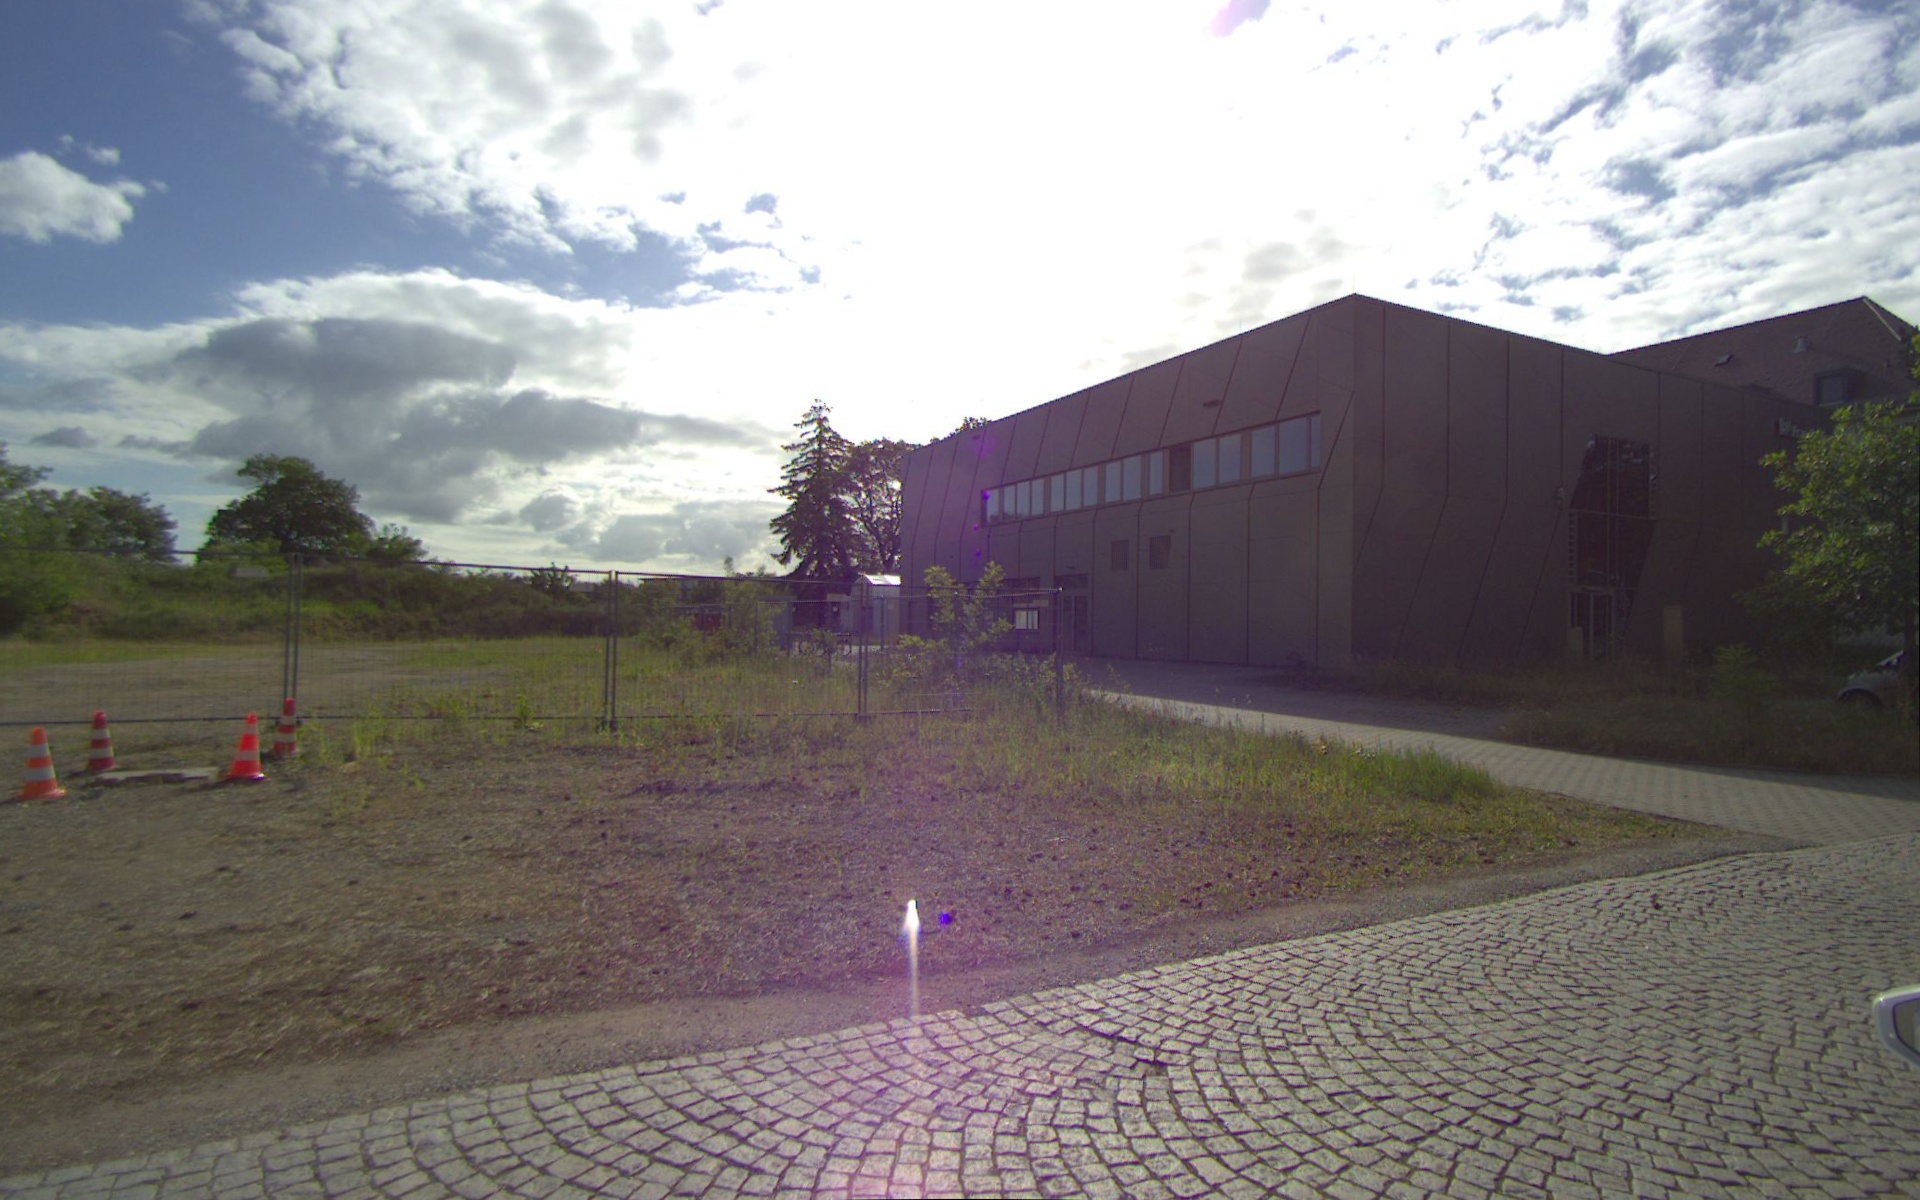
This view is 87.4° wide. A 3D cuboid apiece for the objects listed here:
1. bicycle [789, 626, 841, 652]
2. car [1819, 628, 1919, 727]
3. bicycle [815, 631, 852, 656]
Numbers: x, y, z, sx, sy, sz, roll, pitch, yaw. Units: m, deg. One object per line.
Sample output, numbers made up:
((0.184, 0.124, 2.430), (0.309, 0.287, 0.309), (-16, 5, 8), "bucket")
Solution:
((-5.901, 1.573, 40.924), (1.941, 0.982, 0.837), (-1, 0, -25), "bicycle")
((16.314, 1.307, 16.720), (1.500, 1.563, 2.687), (2, 0, -28), "car")
((-4.915, 1.669, 38.956), (1.339, 0.911, 0.515), (-1, 0, -25), "bicycle")
